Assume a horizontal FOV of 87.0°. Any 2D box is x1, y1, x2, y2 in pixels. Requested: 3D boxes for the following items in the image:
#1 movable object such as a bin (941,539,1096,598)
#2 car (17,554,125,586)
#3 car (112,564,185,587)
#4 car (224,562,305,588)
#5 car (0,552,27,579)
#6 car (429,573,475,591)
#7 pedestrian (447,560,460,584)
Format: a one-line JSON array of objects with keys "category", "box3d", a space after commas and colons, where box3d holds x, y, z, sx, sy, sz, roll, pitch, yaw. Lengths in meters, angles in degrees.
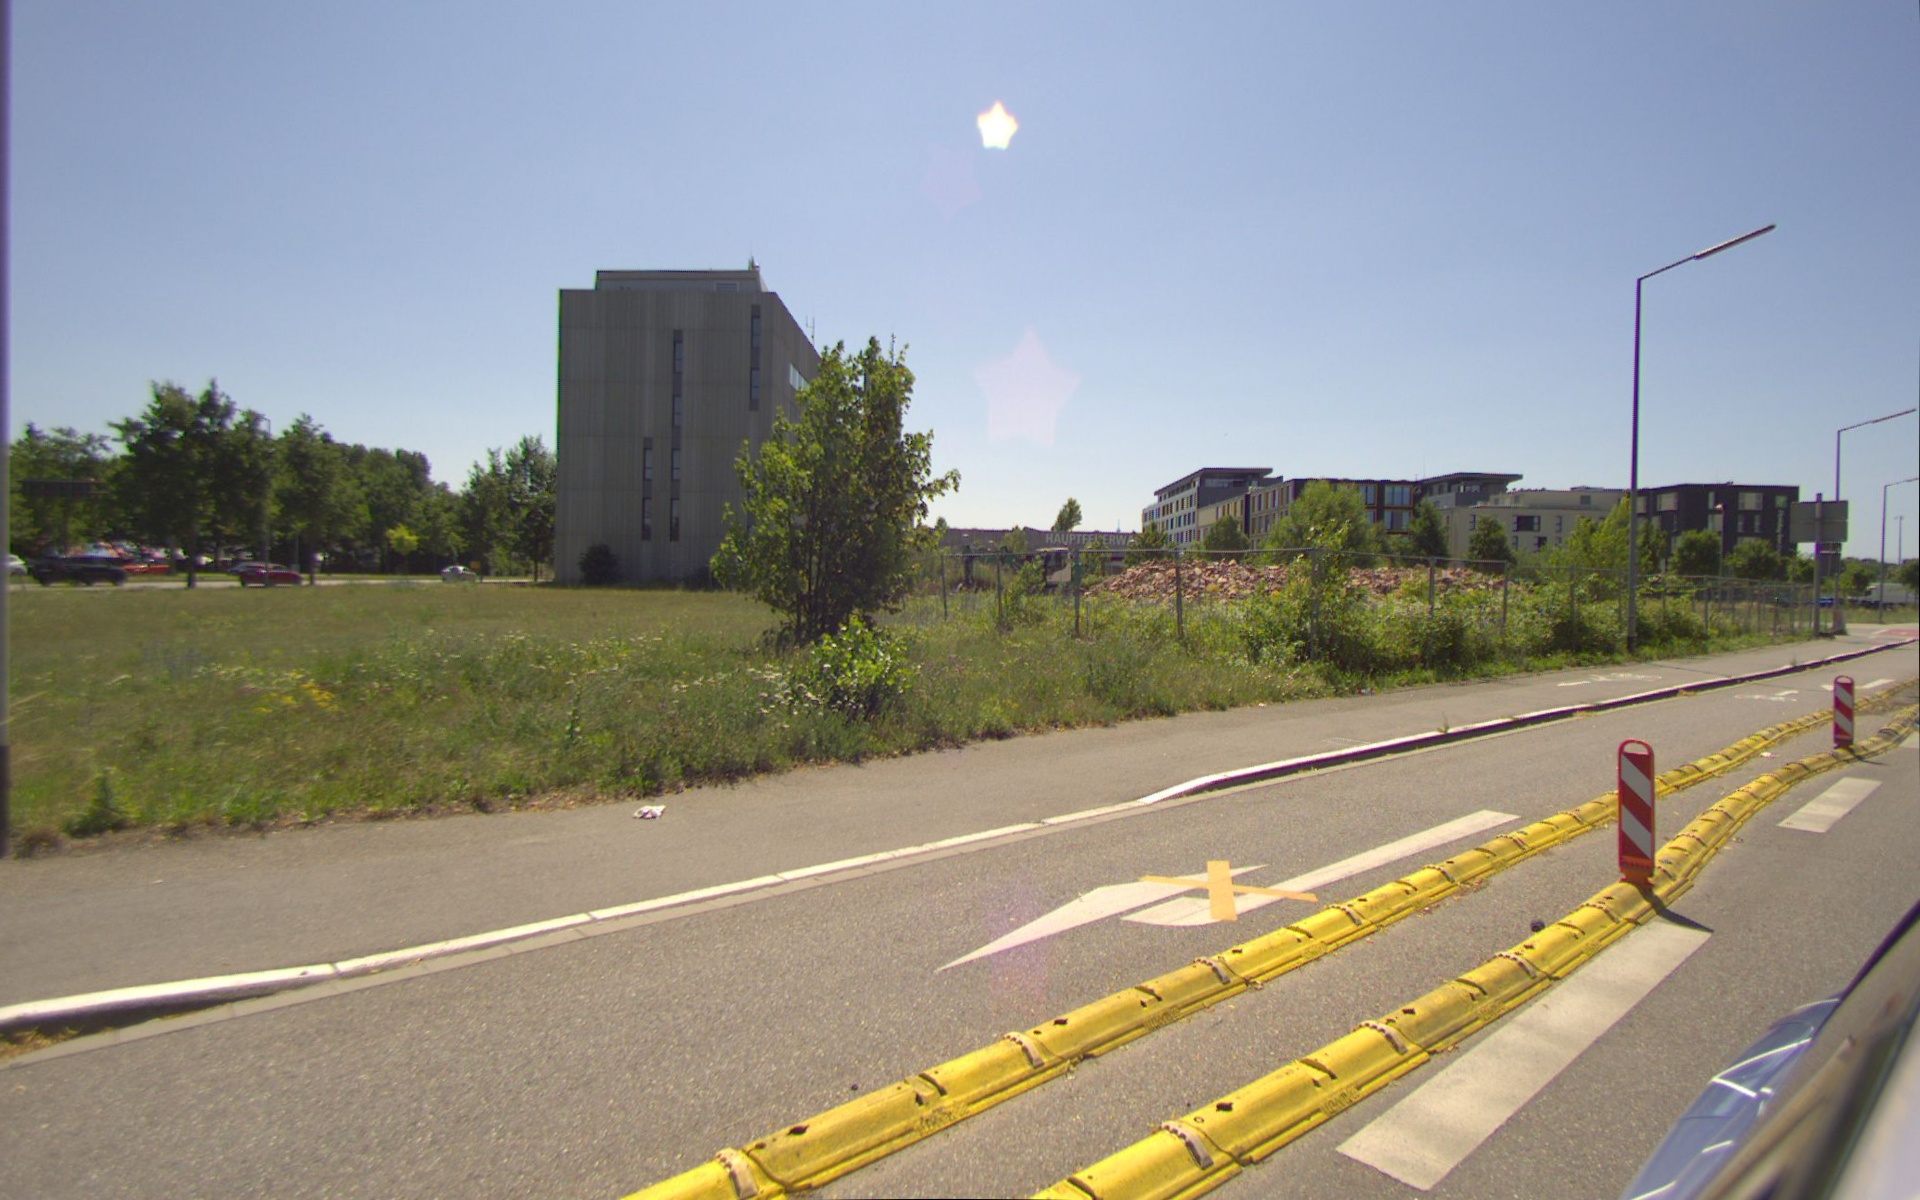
[{"category": "movable object such as a bin", "box3d": [3.108, -1.610, 53.303, 7.537, 2.952, 3.242, -1, 0, -26]}, {"category": "car", "box3d": [-47.927, -1.607, 54.675, 1.962, 1.615, 4.420, 2, 1, 0]}, {"category": "car", "box3d": [-59.068, -1.741, 73.766, 1.814, 1.612, 4.415, 0, 0, 1]}, {"category": "car", "box3d": [-43.810, -1.570, 63.847, 1.963, 1.546, 4.417, 0, 0, 2]}, {"category": "car", "box3d": [-58.827, -2.070, 60.612, 1.814, 1.612, 4.444, 0, 0, 1]}, {"category": "car", "box3d": [-44.516, -1.615, 88.831, 1.961, 1.546, 4.423, 1, 1, -3]}, {"category": "pedestrian", "box3d": [-33.731, -1.856, 67.415, 0.652, 1.611, 0.557, 0, 0, -15]}]
